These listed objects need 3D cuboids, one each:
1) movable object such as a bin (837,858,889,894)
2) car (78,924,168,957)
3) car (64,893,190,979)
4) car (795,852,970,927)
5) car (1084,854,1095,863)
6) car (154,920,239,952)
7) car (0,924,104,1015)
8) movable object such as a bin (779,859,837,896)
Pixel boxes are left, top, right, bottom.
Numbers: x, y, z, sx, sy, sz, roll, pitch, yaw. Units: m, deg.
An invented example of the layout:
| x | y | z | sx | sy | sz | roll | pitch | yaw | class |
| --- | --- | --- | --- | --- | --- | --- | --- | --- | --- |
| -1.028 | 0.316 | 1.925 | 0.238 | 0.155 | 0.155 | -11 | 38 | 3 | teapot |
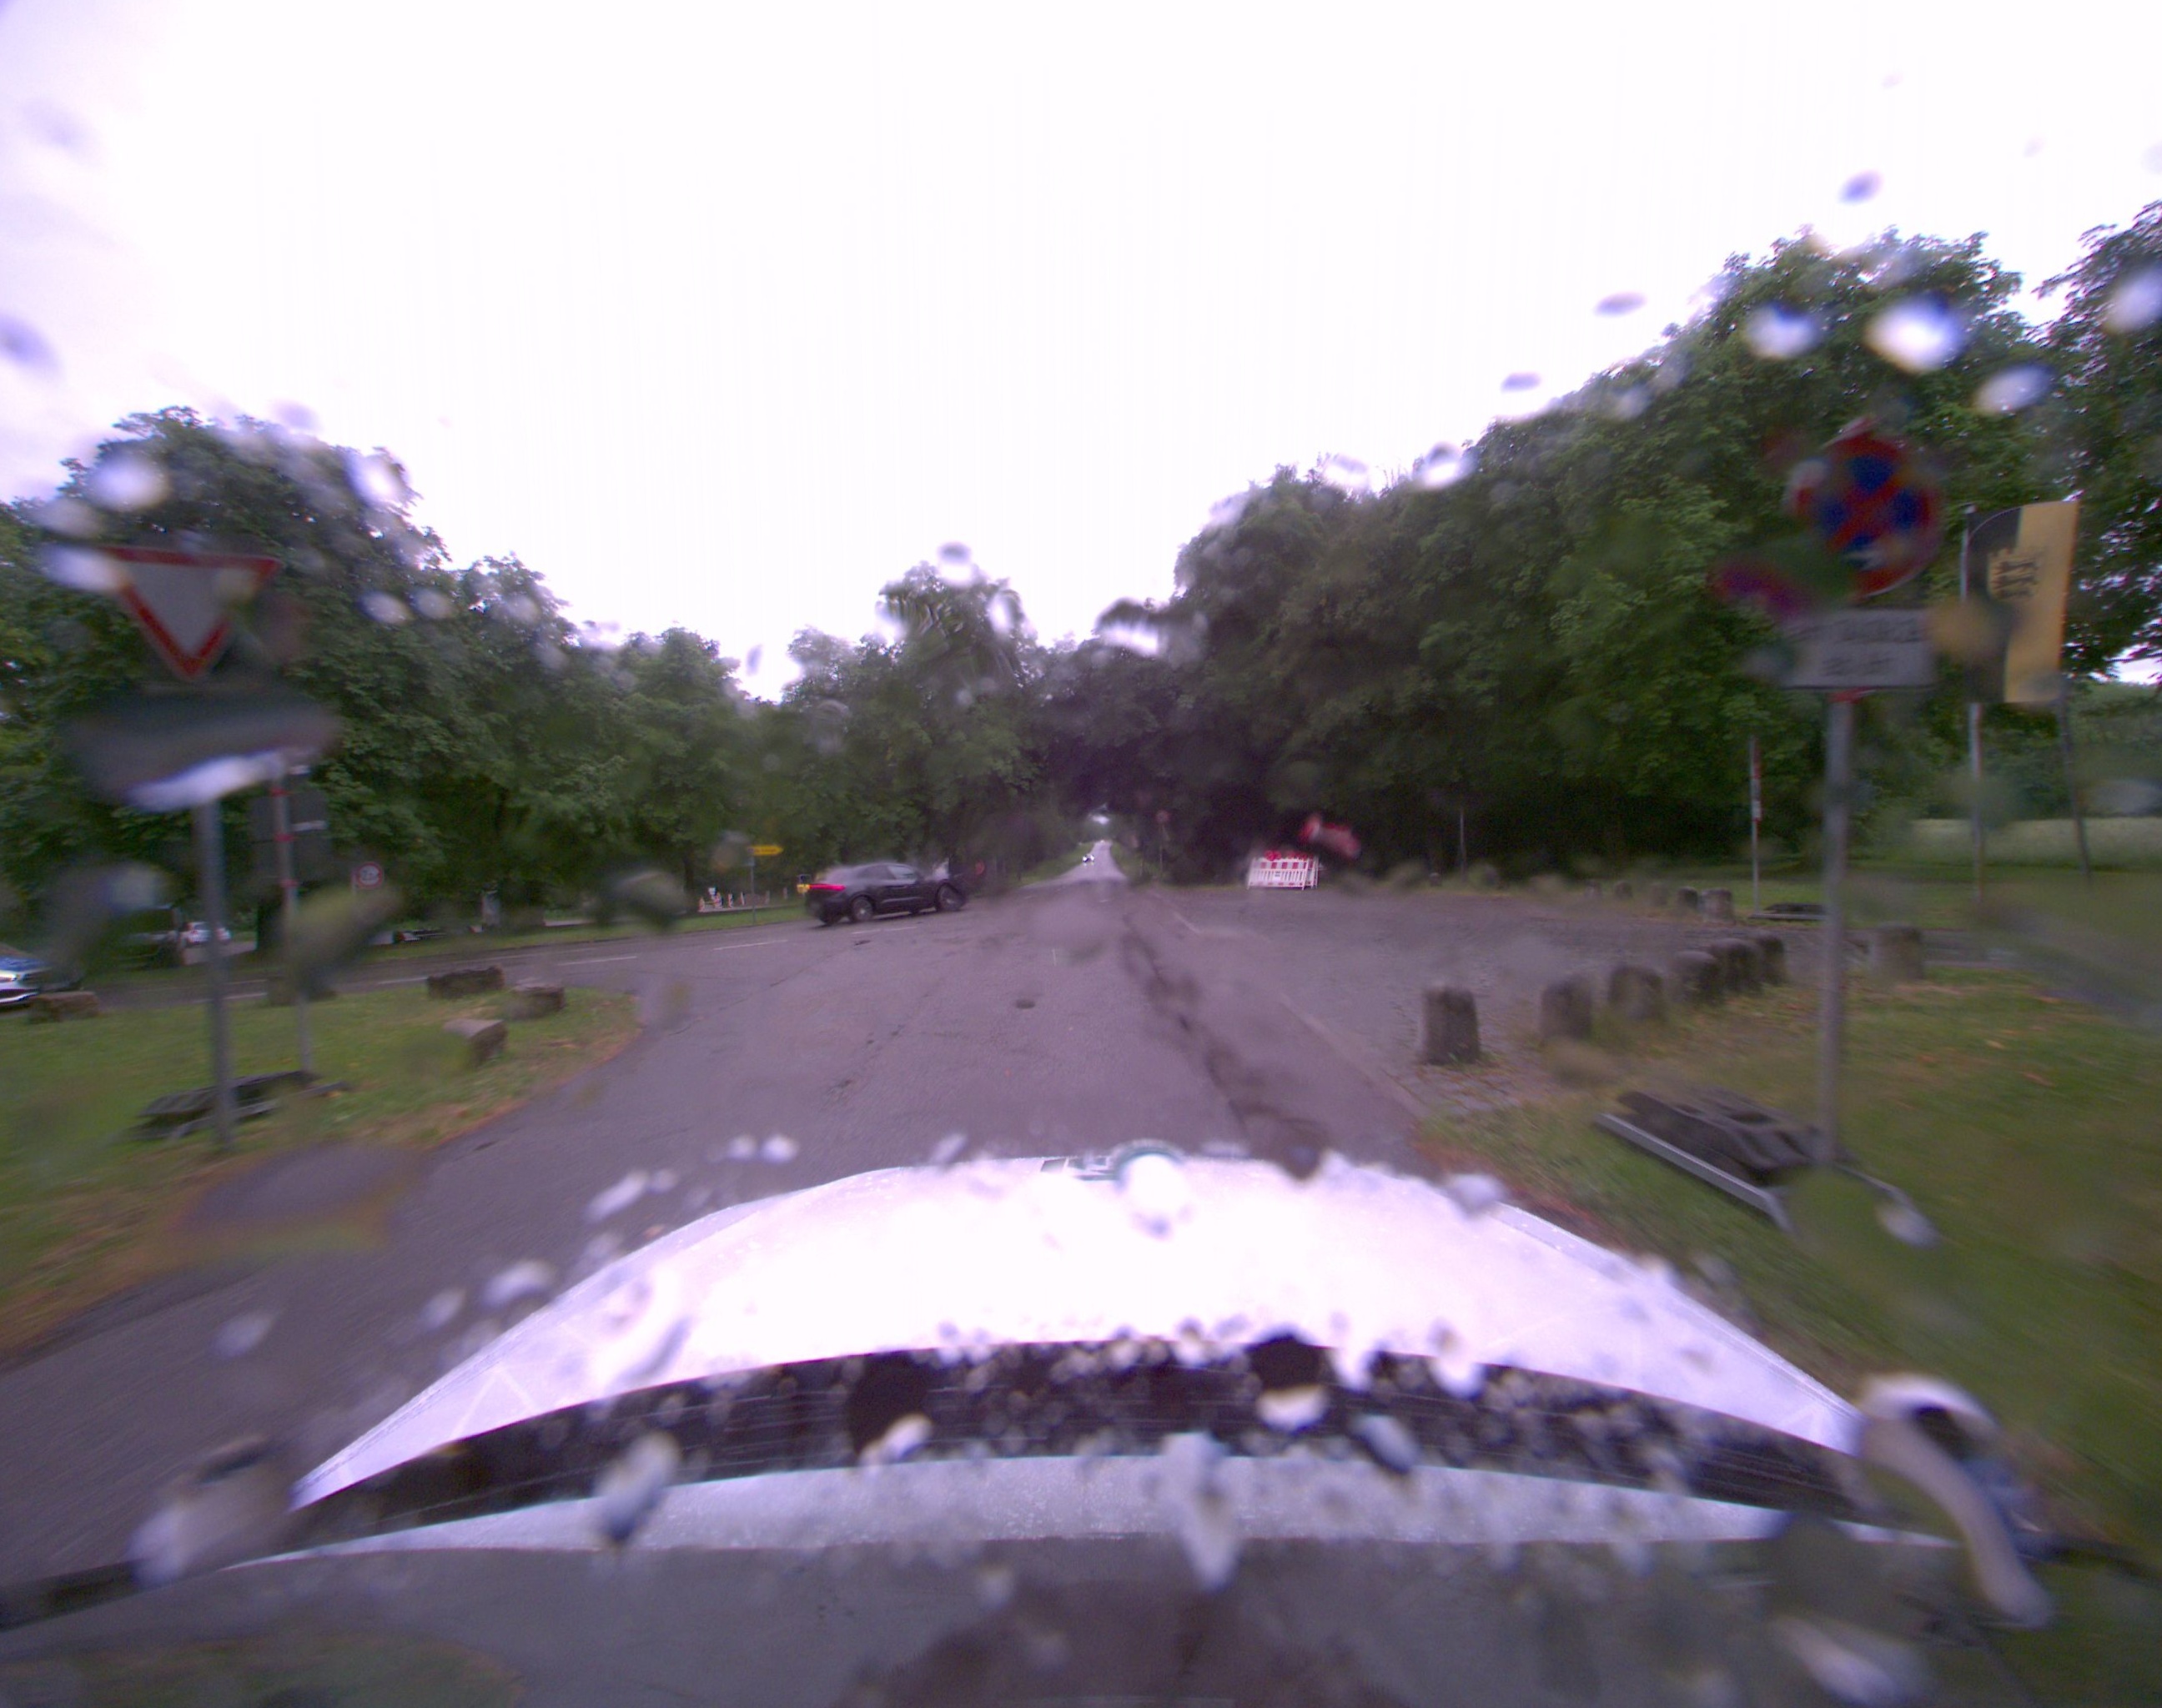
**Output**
| x | y | z | sx | sy | sz | roll | pitch | yaw | class |
| --- | --- | --- | --- | --- | --- | --- | --- | --- | --- |
| -22.095 | 2.217 | 82.683 | 4.581 | 3.294 | 3.654 | -3 | 0 | -10 | movable object such as a bin |
| -53.897 | 4.871 | 45.832 | 3.953 | 1.585 | 2.010 | -3 | 0 | 21 | car |
| -31.344 | 2.625 | 26.945 | 5.908 | 2.408 | 2.407 | -4 | -2 | 43 | car |
| -5.649 | 0.970 | 23.647 | 4.602 | 1.708 | 1.710 | -5 | 1 | -44 | car |
| 1.719 | 0.863 | 157.657 | 1.986 | 1.717 | 4.002 | -3 | 0 | 2 | car |
| -52.571 | 4.870 | 48.391 | 3.953 | 1.585 | 2.010 | -3 | 0 | 21 | car |
| -22.998 | 2.411 | 15.892 | 4.893 | 1.600 | 1.723 | -3 | 0 | -14 | car |
| -27.146 | 2.324 | 81.148 | 4.655 | 3.294 | 3.901 | -4 | 0 | -10 | movable object such as a bin |
